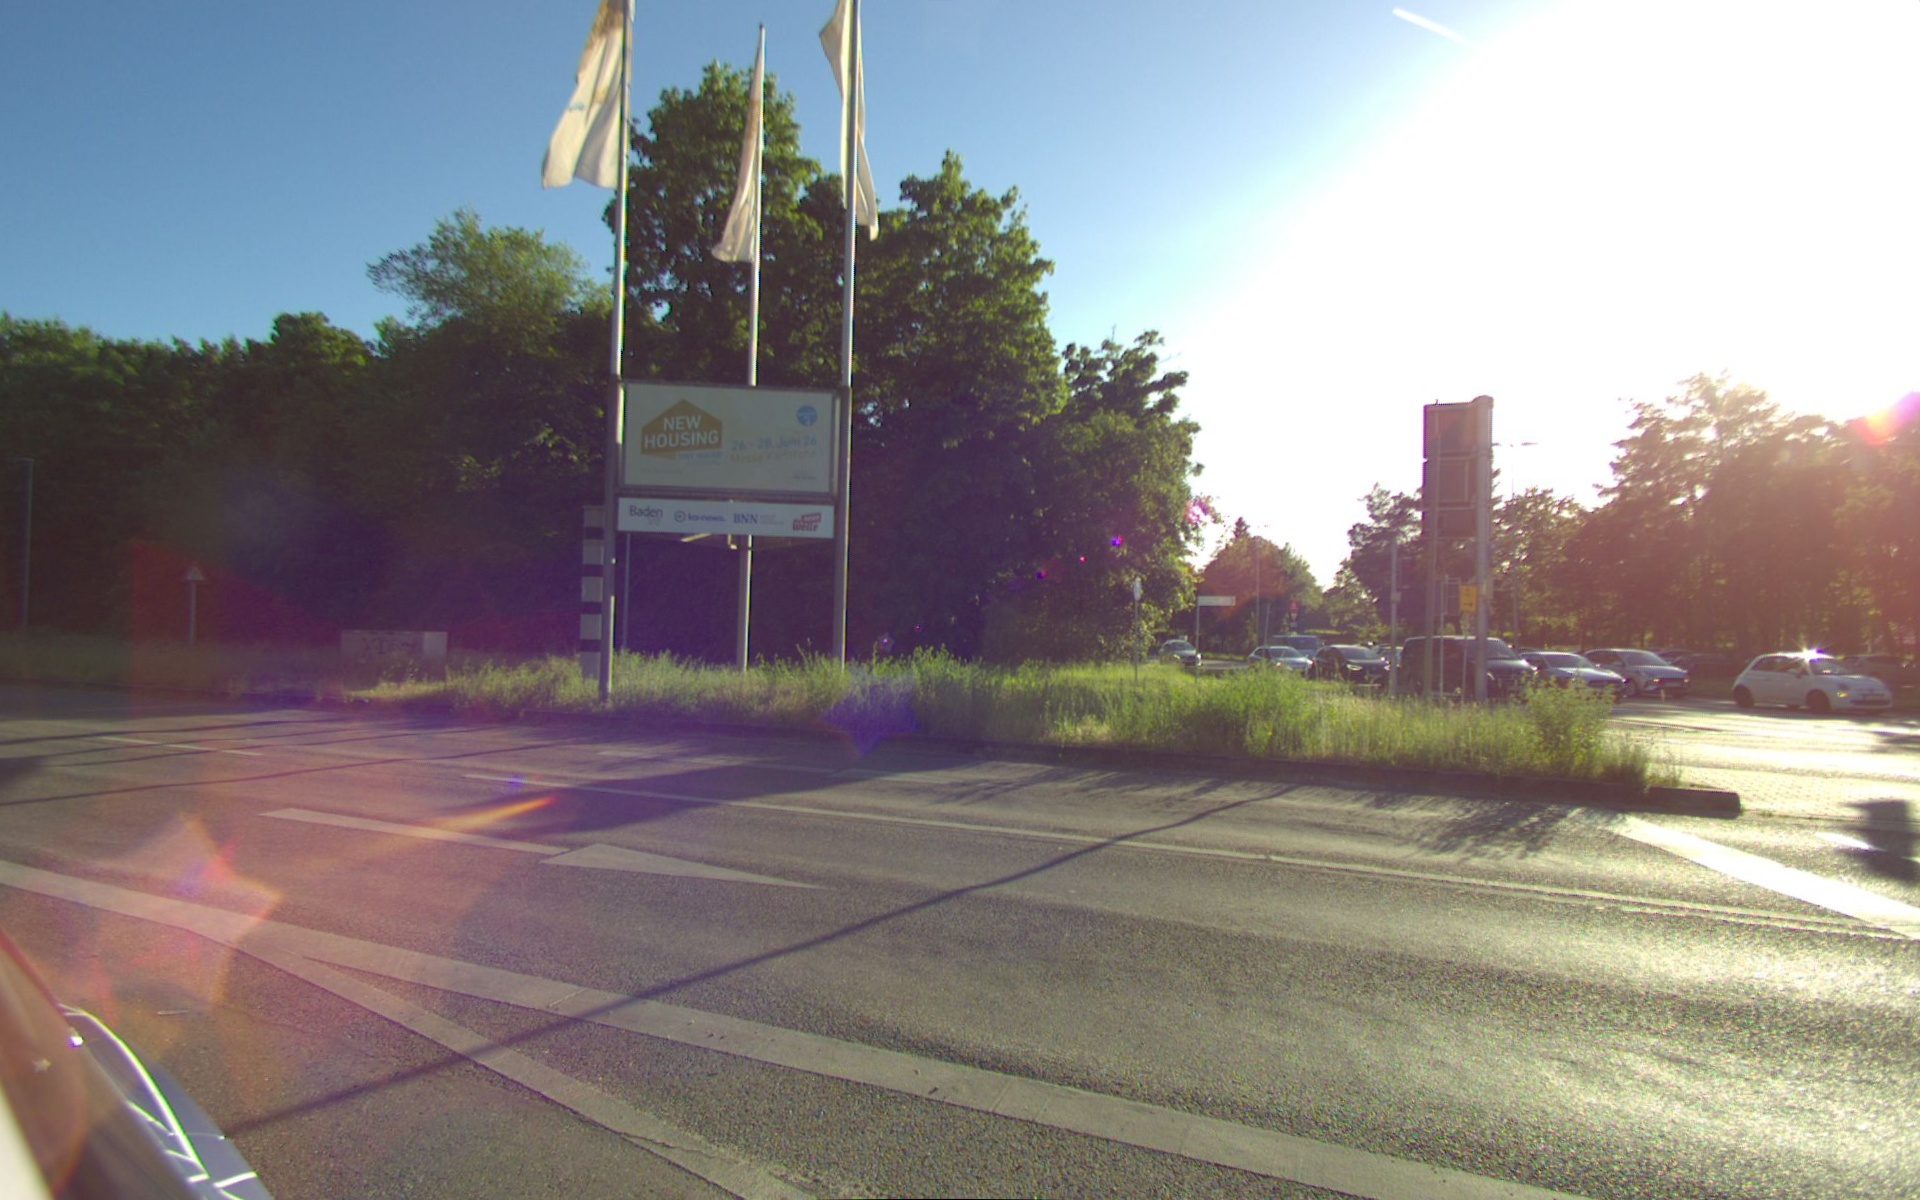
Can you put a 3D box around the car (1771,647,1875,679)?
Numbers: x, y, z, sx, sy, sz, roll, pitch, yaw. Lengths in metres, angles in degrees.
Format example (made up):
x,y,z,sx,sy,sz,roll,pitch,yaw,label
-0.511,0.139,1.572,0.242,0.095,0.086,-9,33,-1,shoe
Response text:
x,y,z,sx,sy,sz,roll,pitch,yaw,label
47.578,3.473,55.874,3.929,1.612,1.807,0,-2,12,car

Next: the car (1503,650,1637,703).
x,y,z,sx,sy,sz,roll,pitch,yaw,label
18.139,2.250,30.314,1.624,1.400,3.800,1,-2,-1,car

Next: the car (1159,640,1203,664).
x,y,z,sx,sy,sz,roll,pitch,yaw,label
13.826,3.224,63.405,1.827,1.400,3.800,1,-2,-1,car

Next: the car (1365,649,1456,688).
x,y,z,sx,sy,sz,roll,pitch,yaw,label
17.825,2.687,40.194,1.827,1.400,3.800,1,-2,-1,car

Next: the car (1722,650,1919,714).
x,y,z,sx,sy,sz,roll,pitch,yaw,label
21.817,2.033,25.755,1.901,1.400,3.800,1,-2,-1,car

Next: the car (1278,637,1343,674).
x,y,z,sx,sy,sz,roll,pitch,yaw,label
17.522,2.760,50.812,1.827,1.773,3.800,1,-2,-1,car

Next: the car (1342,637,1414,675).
x,y,z,sx,sy,sz,roll,pitch,yaw,label
20.198,2.679,49.091,1.827,1.773,3.800,1,-2,-1,car

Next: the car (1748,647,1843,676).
x,y,z,sx,sy,sz,roll,pitch,yaw,label
49.671,3.631,60.249,3.929,1.612,1.807,0,-2,12,car

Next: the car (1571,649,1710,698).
x,y,z,sx,sy,sz,roll,pitch,yaw,label
21.770,2.308,32.589,1.827,1.400,3.800,1,-2,-1,car

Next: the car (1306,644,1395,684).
x,y,z,sx,sy,sz,roll,pitch,yaw,label
14.766,2.392,38.514,1.827,1.400,3.800,1,-2,-1,car

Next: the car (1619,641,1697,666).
x,y,z,sx,sy,sz,roll,pitch,yaw,label
47.738,3.676,69.289,3.929,1.612,1.807,0,-2,12,car

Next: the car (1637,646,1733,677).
x,y,z,sx,sy,sz,roll,pitch,yaw,label
41.371,3.507,57.824,3.953,1.631,1.938,1,-2,8,car

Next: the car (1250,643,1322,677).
x,y,z,sx,sy,sz,roll,pitch,yaw,label
14.325,2.617,44.698,1.827,1.400,3.800,1,-2,-1,car

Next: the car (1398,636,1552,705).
x,y,z,sx,sy,sz,roll,pitch,yaw,label
15.029,1.997,29.917,1.901,1.844,4.935,1,-2,-2,car

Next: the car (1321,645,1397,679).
x,y,z,sx,sy,sz,roll,pitch,yaw,label
17.846,2.748,45.410,1.827,1.400,3.800,1,-2,-1,car

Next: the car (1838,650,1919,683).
x,y,z,sx,sy,sz,roll,pitch,yaw,label
48.338,3.443,52.256,4.107,1.612,1.807,0,-2,12,car
